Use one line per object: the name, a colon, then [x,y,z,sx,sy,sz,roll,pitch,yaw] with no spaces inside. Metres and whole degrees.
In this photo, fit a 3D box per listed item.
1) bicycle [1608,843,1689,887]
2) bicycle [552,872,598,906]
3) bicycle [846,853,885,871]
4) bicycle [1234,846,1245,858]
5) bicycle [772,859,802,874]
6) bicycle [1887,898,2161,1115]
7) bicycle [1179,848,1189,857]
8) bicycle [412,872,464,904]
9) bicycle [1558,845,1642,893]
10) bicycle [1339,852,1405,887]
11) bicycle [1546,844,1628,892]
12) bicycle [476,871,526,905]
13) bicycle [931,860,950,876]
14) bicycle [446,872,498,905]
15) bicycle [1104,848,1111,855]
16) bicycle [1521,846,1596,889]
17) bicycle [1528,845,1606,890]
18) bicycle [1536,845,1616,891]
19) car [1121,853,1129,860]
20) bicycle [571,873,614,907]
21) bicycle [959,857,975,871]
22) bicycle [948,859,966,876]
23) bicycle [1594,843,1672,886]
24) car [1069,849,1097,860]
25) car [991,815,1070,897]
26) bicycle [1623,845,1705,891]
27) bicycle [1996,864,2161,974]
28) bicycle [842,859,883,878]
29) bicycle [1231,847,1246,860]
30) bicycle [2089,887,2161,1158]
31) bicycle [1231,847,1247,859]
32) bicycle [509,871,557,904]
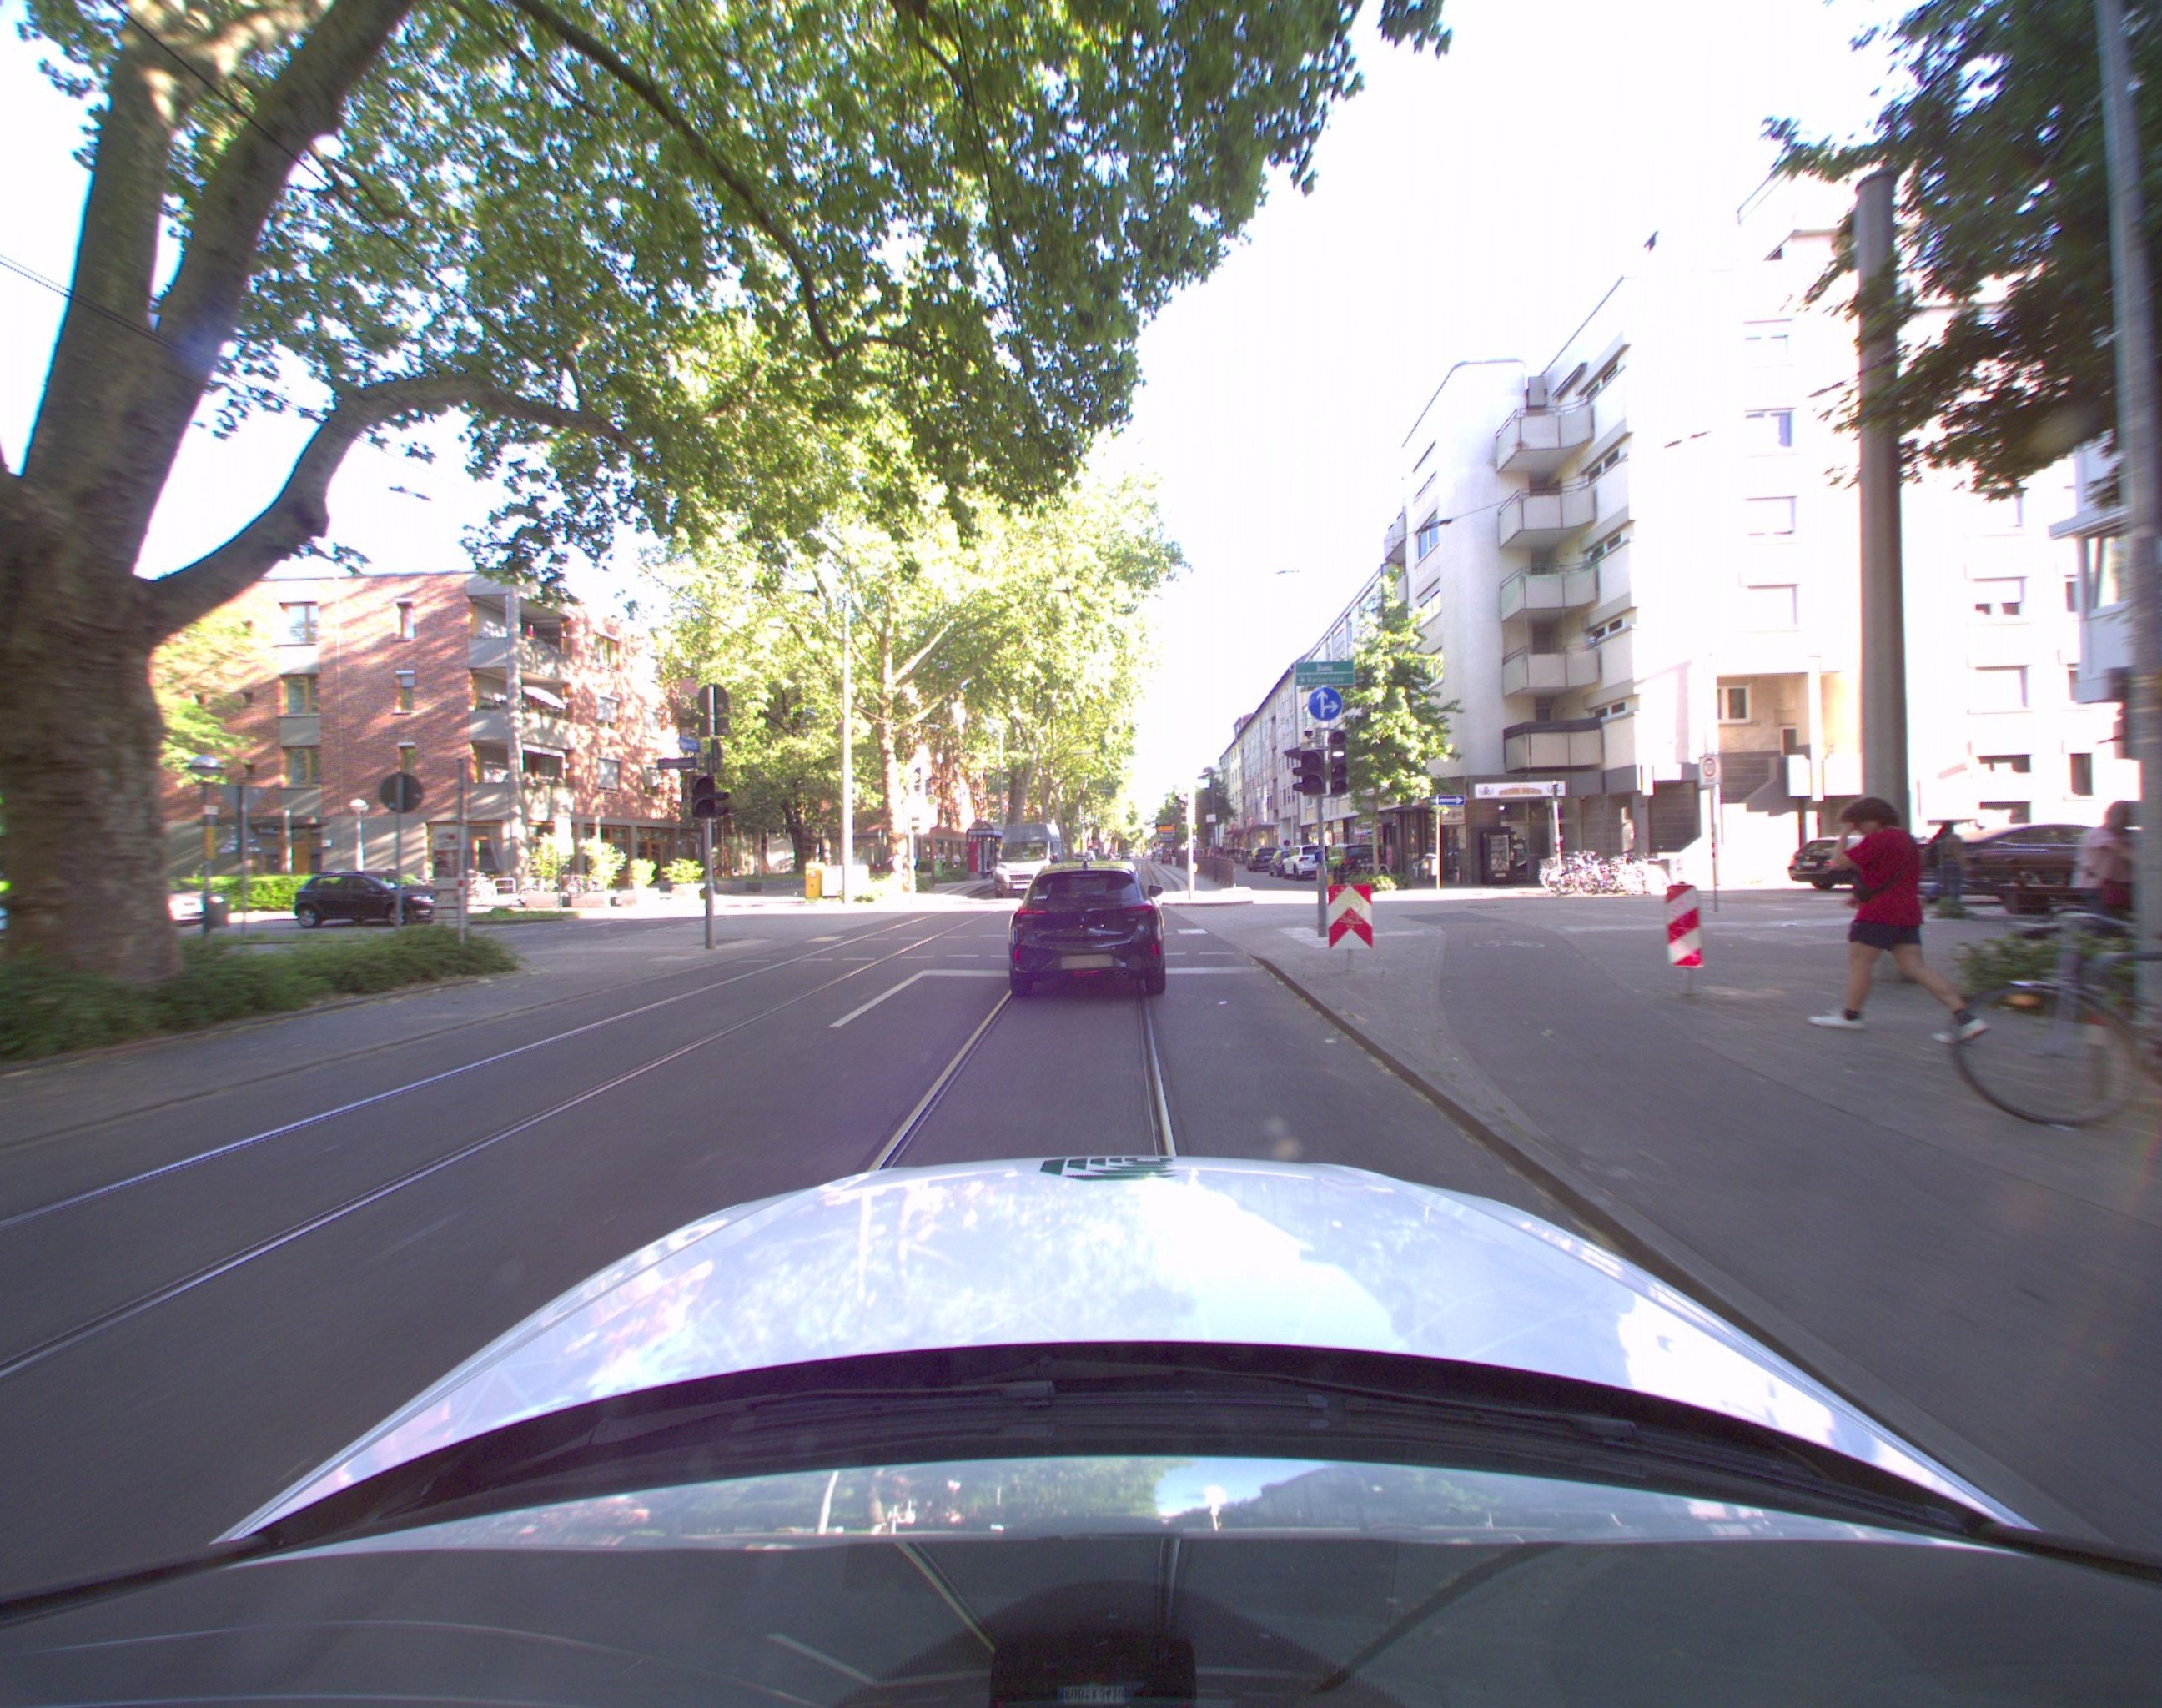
bicycle: [16.024,0.310,23.005,1.908,1.207,0.511,-1,-1,0]
bicycle: [-18.117,1.238,29.215,0.539,1.084,1.640,-1,2,3]
bicycle: [-13.994,0.509,52.943,2.330,1.166,0.683,0,0,4]
bicycle: [15.724,-0.179,80.598,0.410,1.136,2.198,-1,0,-7]
bicycle: [-21.081,0.903,58.481,1.942,1.073,0.762,-1,-1,-13]
bicycle: [5.244,0.739,4.128,1.809,0.994,0.481,-1,-1,1]
bicycle: [13.332,-0.150,105.620,0.859,1.136,2.394,-1,0,-2]
bicycle: [-23.515,1.231,29.805,0.539,1.084,1.640,-1,0,3]
bicycle: [13.878,0.394,21.814,1.908,1.207,0.511,-2,1,0]
bicycle: [10.220,0.535,28.684,2.112,1.187,0.683,-1,-1,12]
bicycle: [13.885,0.376,22.349,1.908,1.207,0.511,-2,1,0]
bicycle: [-21.055,1.227,29.614,0.539,1.084,1.640,-1,2,3]
bicycle: [-9.932,0.990,57.693,0.779,1.111,2.597,-1,0,1]
bicycle: [-22.098,1.242,29.579,0.539,1.084,1.640,-1,1,3]
bicycle: [5.135,-0.491,158.818,0.950,1.240,2.983,-1,0,7]
bicycle: [14.062,0.394,23.986,1.908,1.207,0.511,-1,-1,0]
bicycle: [13.984,0.385,23.436,1.908,1.207,0.511,-2,0,0]
bicycle: [13.900,0.394,22.884,1.908,1.207,0.511,-2,0,0]
car: [9.444,0.542,175.228,1.738,1.544,4.002,-1,0,2]
bicycle: [-17.492,1.266,29.186,0.539,1.084,1.538,-1,2,3]
bicycle: [-8.930,0.765,63.985,0.779,1.111,2.597,-1,0,1]
bicycle: [-8.821,0.932,57.945,0.779,1.191,2.597,-1,0,1]
bicycle: [16.036,0.315,23.668,1.908,1.208,0.511,-1,-1,0]
car: [0.305,0.081,131.717,4.375,1.851,1.998,-1,0,-3]
car: [-1.805,0.094,31.243,2.104,2.738,6.121,-2,0,4]
bicycle: [16.023,0.370,22.393,1.908,1.207,0.511,-1,1,0]
bicycle: [9.965,0.583,7.617,0.673,0.963,2.025,-1,0,6]
bicycle: [-14.132,0.942,52.591,2.447,1.219,0.683,0,0,4]
bicycle: [14.571,-0.045,75.207,0.620,1.136,2.433,-1,0,-7]
bicycle: [5.331,0.686,3.384,1.812,1.100,0.497,-1,-1,-5]
bicycle: [15.343,-0.105,79.117,0.610,1.136,2.914,-1,0,-7]
bicycle: [-19.790,1.203,29.458,0.539,1.084,1.640,-1,2,3]
